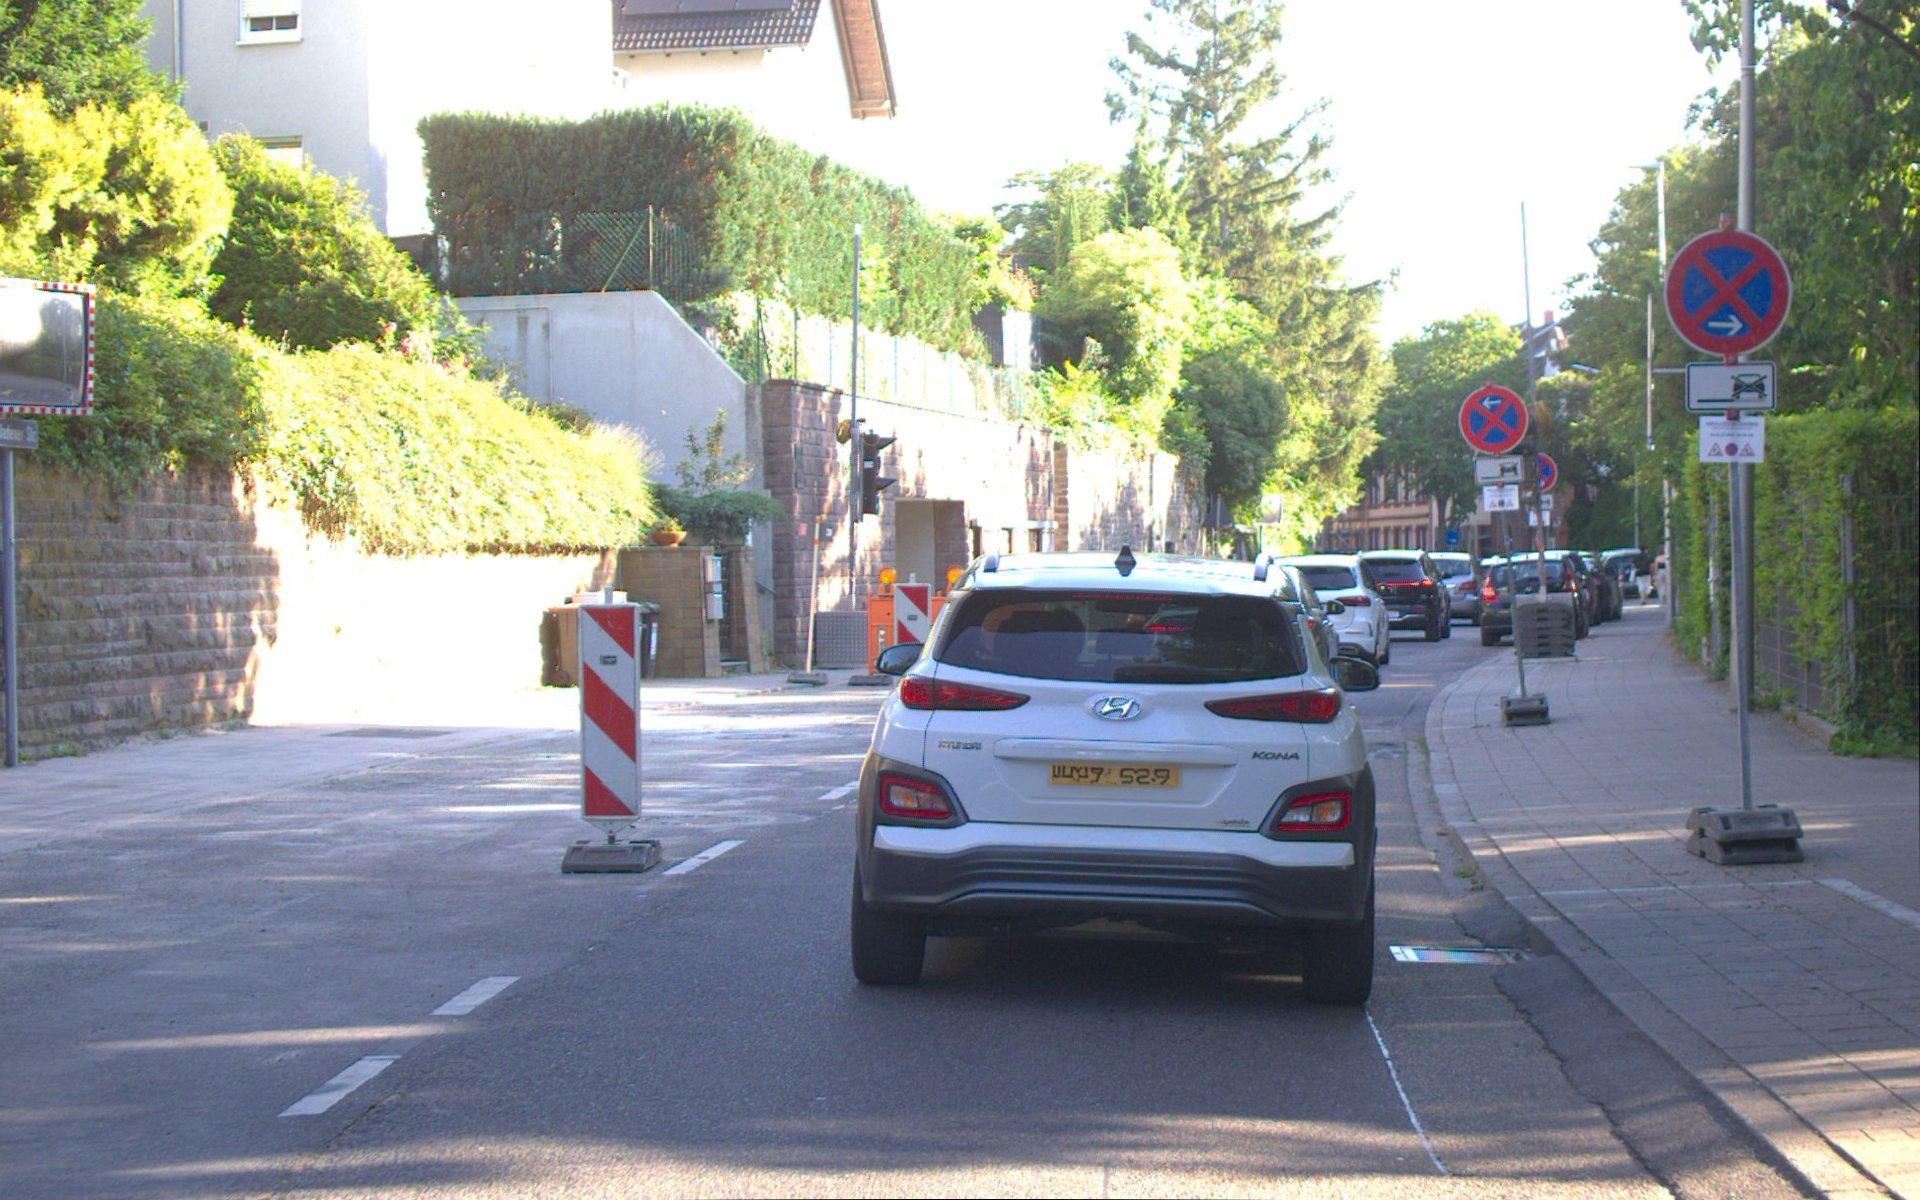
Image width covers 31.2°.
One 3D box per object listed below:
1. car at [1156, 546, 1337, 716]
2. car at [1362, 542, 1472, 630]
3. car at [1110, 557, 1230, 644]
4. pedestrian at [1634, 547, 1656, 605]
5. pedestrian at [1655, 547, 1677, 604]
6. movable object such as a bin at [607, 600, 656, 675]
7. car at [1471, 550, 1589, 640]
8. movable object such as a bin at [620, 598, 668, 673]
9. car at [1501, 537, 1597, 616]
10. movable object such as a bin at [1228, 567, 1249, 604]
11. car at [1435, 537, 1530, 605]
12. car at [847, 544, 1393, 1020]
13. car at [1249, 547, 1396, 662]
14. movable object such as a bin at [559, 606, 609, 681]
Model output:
[{"bbox_3d":[2.839,0.260,33.523,1.512,1.528,3.547,-1,1,8],"label":"car"},{"bbox_3d":[8.194,-0.272,61.394,1.694,1.528,3.880,0,1,11],"label":"car"},{"bbox_3d":[3.661,-0.017,59.411,1.627,1.417,3.561,-1,0,10],"label":"car"},{"bbox_3d":[19.094,-0.674,95.823,0.503,1.601,0.491,-3,0,13],"label":"pedestrian"},{"bbox_3d":[19.629,-0.676,95.576,0.503,1.564,0.503,-3,0,13],"label":"pedestrian"},{"bbox_3d":[-3.918,0.446,41.024,0.456,0.881,0.500,0,1,11],"label":"movable object such as a bin"},{"bbox_3d":[9.791,-0.105,58.856,1.795,1.436,3.998,-1,1,12],"label":"car"},{"bbox_3d":[-3.816,0.425,41.542,0.456,0.881,0.500,0,1,11],"label":"movable object such as a bin"},{"bbox_3d":[11.829,-0.480,68.946,1.654,1.559,2.870,0,1,14],"label":"car"},{"bbox_3d":[7.333,-0.380,90.588,0.490,0.961,0.583,1,1,10],"label":"movable object such as a bin"},{"bbox_3d":[11.522,-0.653,75.647,1.695,1.442,3.879,0,1,14],"label":"car"},{"bbox_3d":[0.613,0.567,13.271,1.772,1.537,4.000,1,1,3],"label":"car"},{"bbox_3d":[4.906,0.025,46.203,1.571,1.472,3.546,0,1,13],"label":"car"},{"bbox_3d":[-4.268,0.491,39.028,0.454,0.831,0.392,0,1,11],"label":"movable object such as a bin"}]
